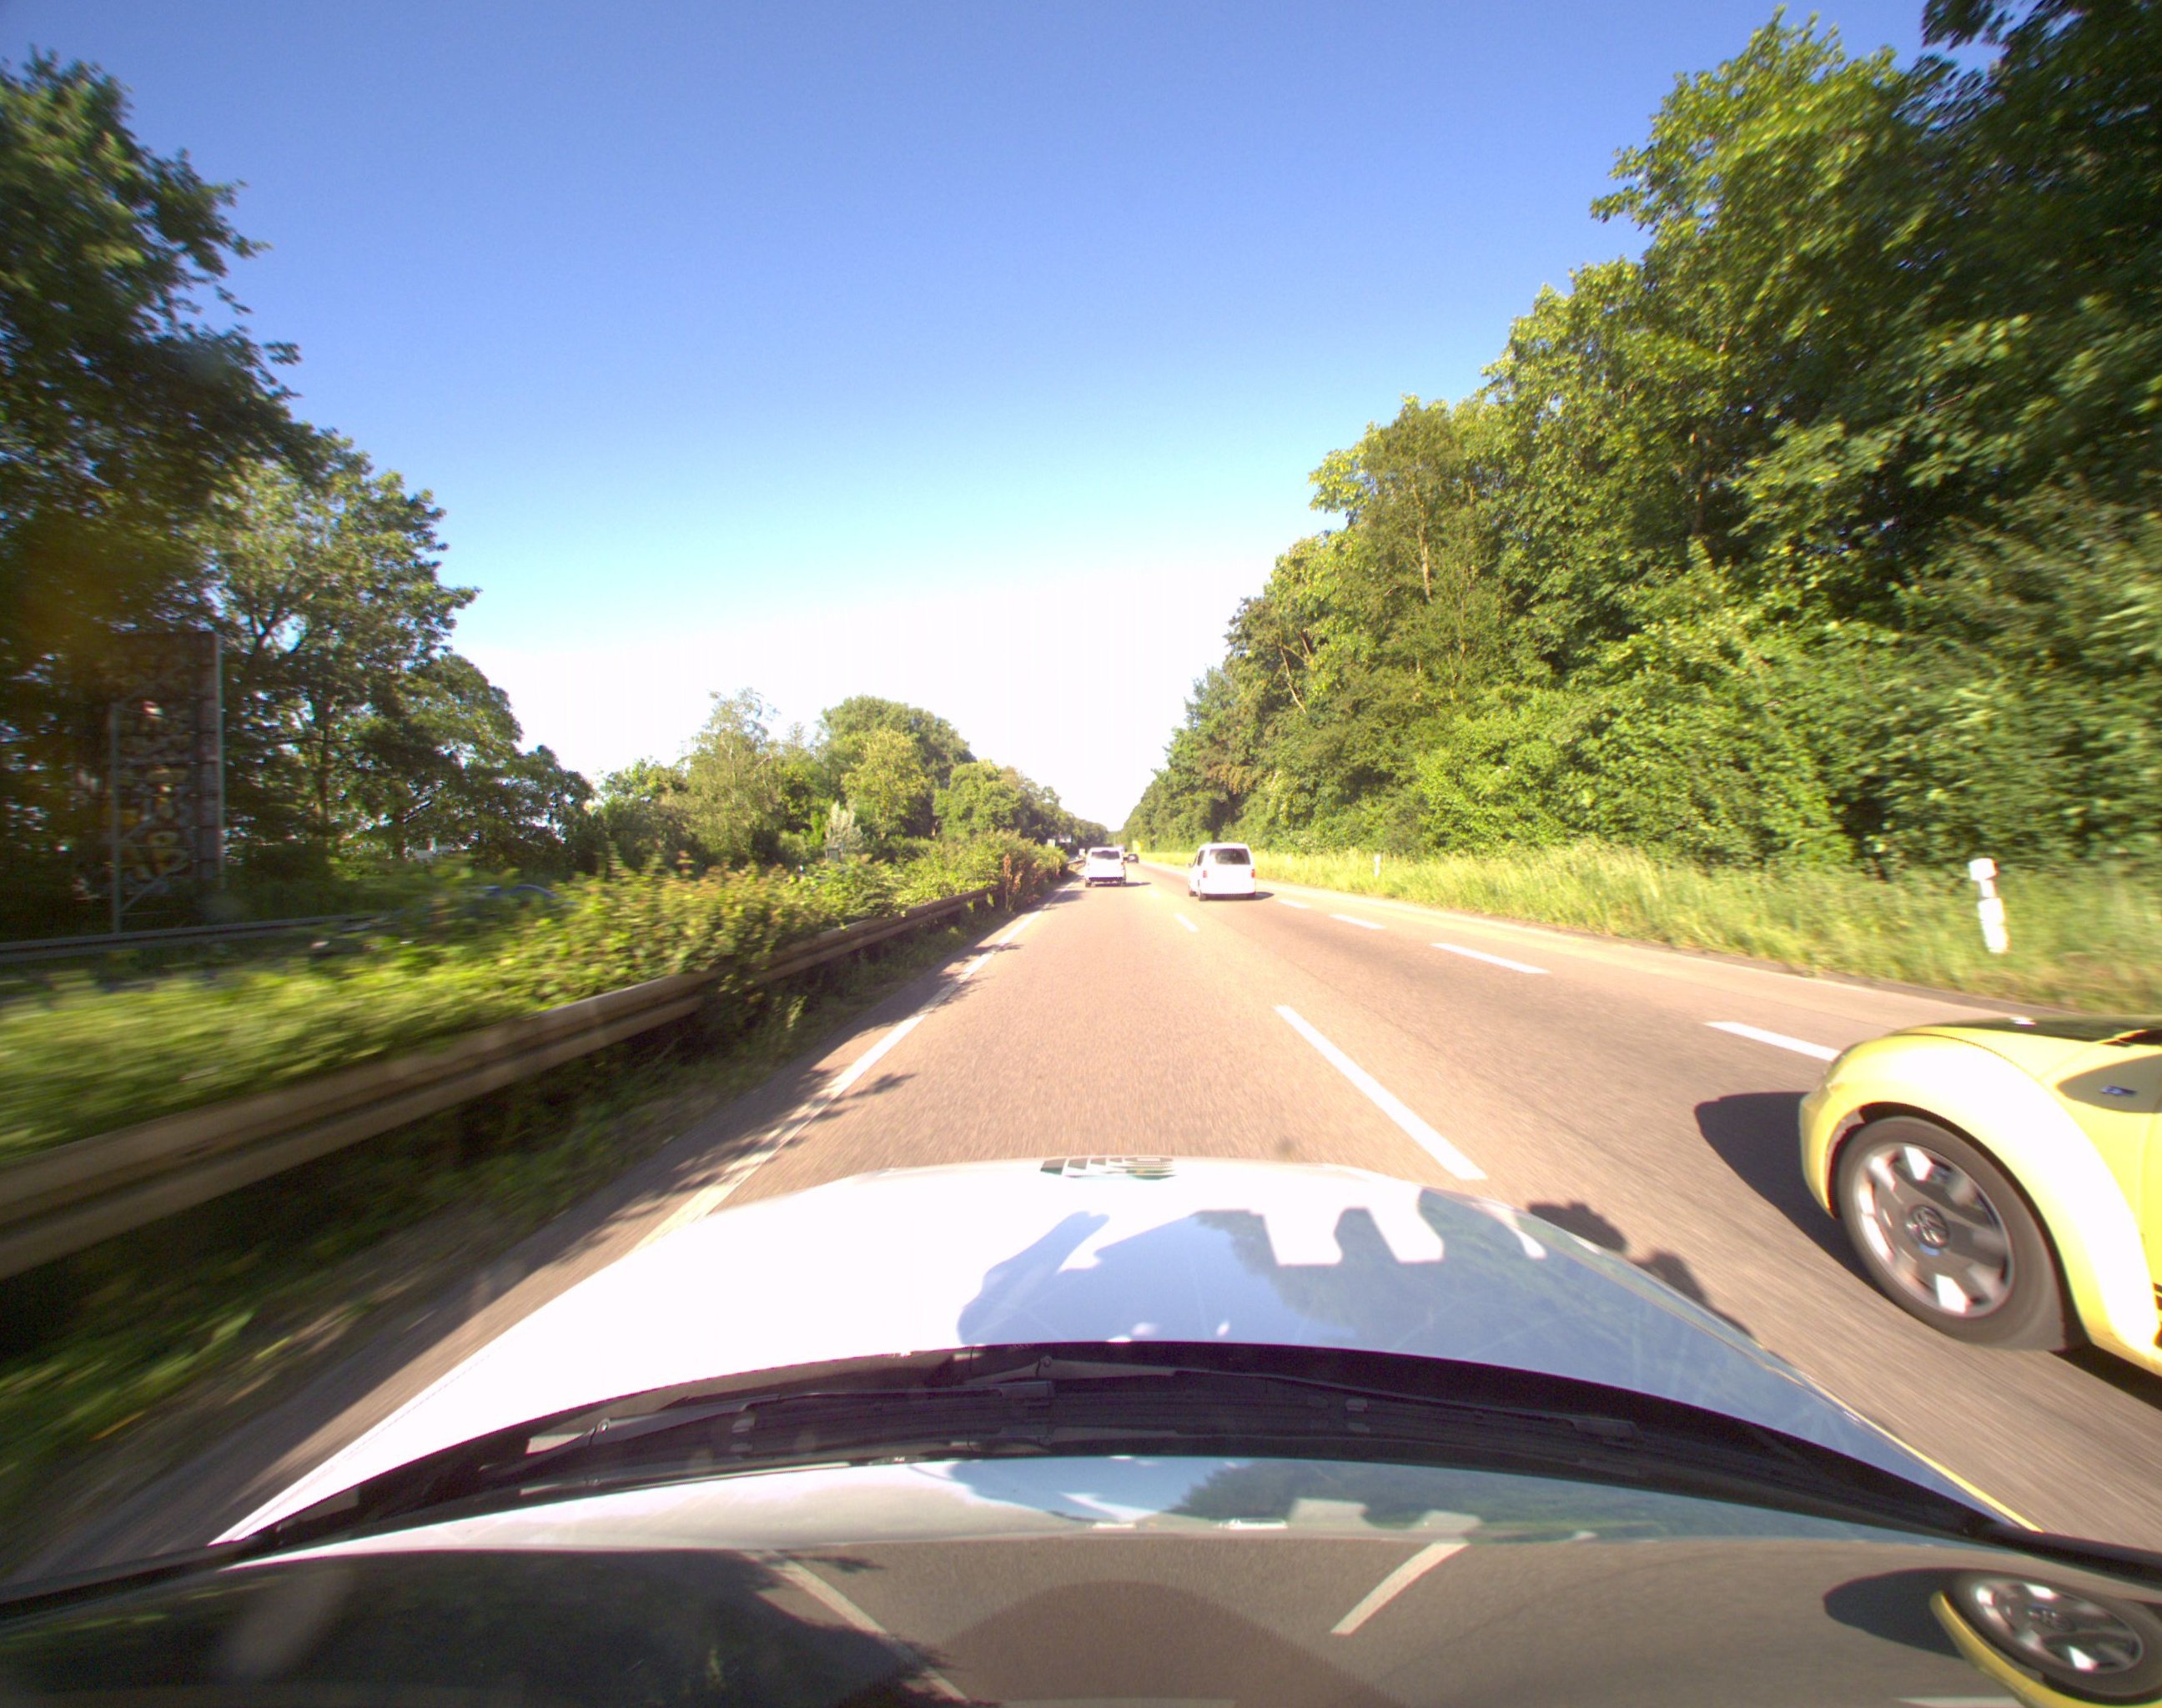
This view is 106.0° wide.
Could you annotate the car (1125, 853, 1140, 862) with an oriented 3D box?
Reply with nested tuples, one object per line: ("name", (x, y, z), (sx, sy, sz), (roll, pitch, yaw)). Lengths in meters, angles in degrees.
("car", (7.805, 0.525, 123.657), (1.986, 1.398, 4.001), (-1, 0, 1))

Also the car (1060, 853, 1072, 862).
("car", (-2.857, 0.676, 153.715), (1.953, 1.540, 4.466), (-1, 0, 1))

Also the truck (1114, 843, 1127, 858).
("truck", (11.745, -1.034, 240.666), (3.483, 4.172, 8.865), (-2, 0, 2))

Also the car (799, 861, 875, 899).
("car", (-10.567, 1.101, 35.599), (1.955, 1.450, 4.505), (-2, 0, -1))

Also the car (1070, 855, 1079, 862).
("car", (-1.529, 1.076, 195.473), (1.870, 1.540, 4.466), (-2, 0, 1))

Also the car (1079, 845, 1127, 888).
("car", (0.959, 0.535, 37.651), (2.079, 1.828, 3.999), (-1, 0, 0))

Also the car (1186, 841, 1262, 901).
("car", (4.576, 0.497, 26.746), (1.856, 1.770, 4.472), (-1, 0, 2))

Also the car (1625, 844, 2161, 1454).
("car", (3.541, 0.709, 1.739), (1.873, 1.461, 4.356), (-1, 0, 0))

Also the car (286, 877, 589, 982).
("car", (-11.332, 1.233, 14.872), (1.955, 1.450, 4.505), (-1, 0, -1))
